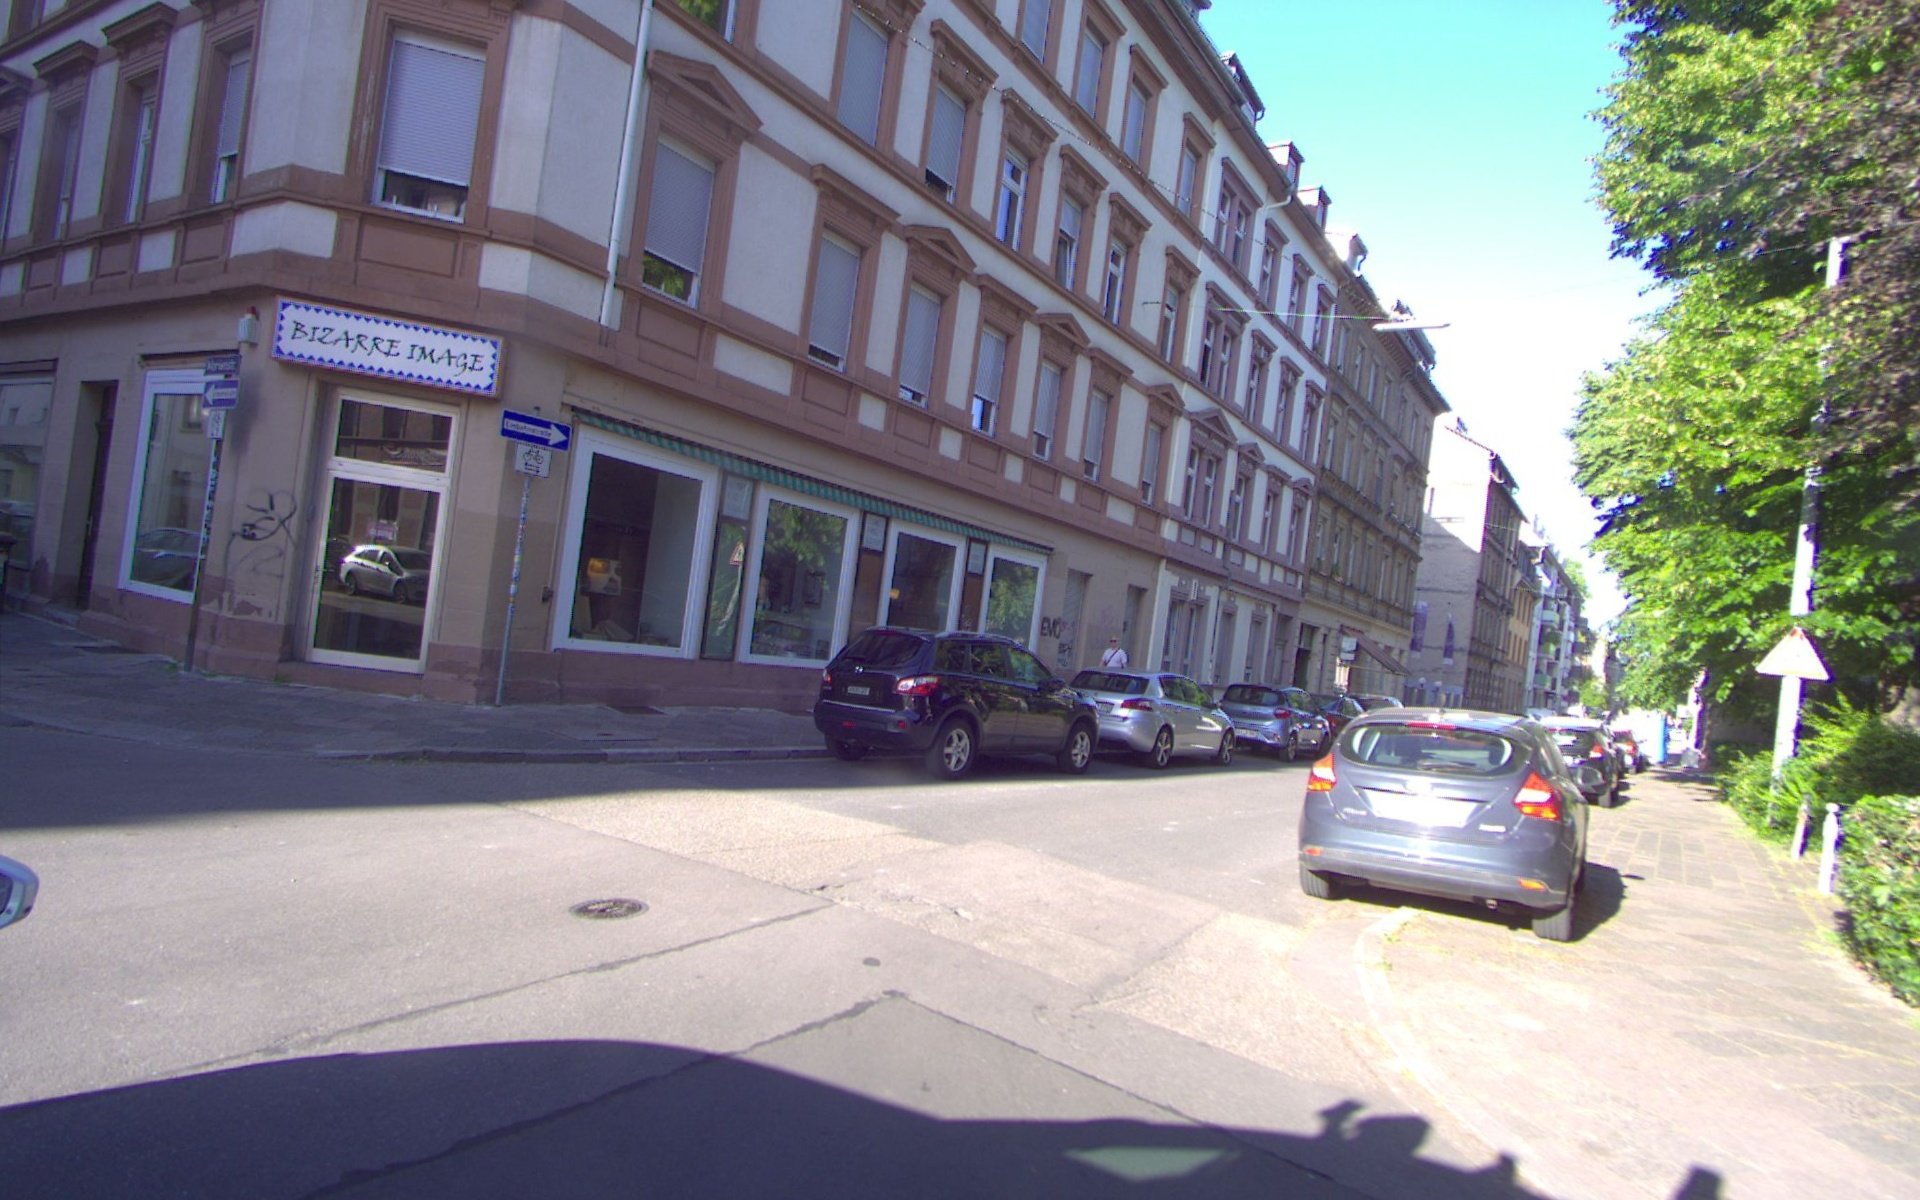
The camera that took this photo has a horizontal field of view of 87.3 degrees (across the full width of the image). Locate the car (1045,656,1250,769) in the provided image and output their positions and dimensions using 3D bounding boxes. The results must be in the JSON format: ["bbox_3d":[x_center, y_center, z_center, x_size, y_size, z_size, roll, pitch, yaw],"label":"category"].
[{"bbox_3d":[3.157,1.848,16.348,1.609,1.489,3.857,4,-4,37],"label":"car"}]

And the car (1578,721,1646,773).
[{"bbox_3d":[22.326,5.013,34.386,1.609,1.489,3.533,4,-4,37],"label":"car"}]

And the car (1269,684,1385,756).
[{"bbox_3d":[9.182,3.012,25.019,1.609,1.489,3.690,4,-4,37],"label":"car"}]

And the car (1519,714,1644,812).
[{"bbox_3d":[11.878,3.056,19.133,1.609,1.489,3.533,4,-4,37],"label":"car"}]

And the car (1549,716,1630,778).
[{"bbox_3d":[18.251,4.246,29.110,1.609,1.489,3.533,4,-4,37],"label":"car"}]

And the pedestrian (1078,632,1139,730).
[{"bbox_3d":[3.178,1.732,21.534,0.787,1.943,0.716,10,0,31],"label":"pedestrian"}]

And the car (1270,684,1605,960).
[{"bbox_3d":[4.032,1.577,8.091,1.770,1.455,3.925,4,-4,34],"label":"car"}]

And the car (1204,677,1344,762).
[{"bbox_3d":[6.694,2.531,21.251,1.609,1.489,3.533,4,-4,37],"label":"car"}]

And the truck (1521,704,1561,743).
[{"bbox_3d":[36.979,7.889,63.974,1.609,2.240,4.355,4,-4,37],"label":"truck"}]

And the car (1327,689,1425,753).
[{"bbox_3d":[12.096,3.527,29.128,1.609,1.570,3.883,4,-4,37],"label":"car"}]

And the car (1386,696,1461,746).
[{"bbox_3d":[16.975,4.454,36.772,1.609,1.570,3.883,4,-4,37],"label":"car"}]

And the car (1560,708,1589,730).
[{"bbox_3d":[50.877,9.831,83.274,1.609,1.570,3.884,4,-4,37],"label":"car"}]

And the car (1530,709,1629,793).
[{"bbox_3d":[14.918,3.603,24.155,1.609,1.667,3.533,4,-4,37],"label":"car"}]

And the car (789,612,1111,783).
[{"bbox_3d":[0.046,1.189,12.159,1.736,1.626,3.920,4,-4,37],"label":"car"}]

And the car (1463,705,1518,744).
[{"bbox_3d":[24.959,5.873,47.277,1.609,1.570,3.884,4,-4,37],"label":"car"}]

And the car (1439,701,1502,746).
[{"bbox_3d":[20.958,5.074,41.249,1.609,1.570,3.884,4,-4,37],"label":"car"}]

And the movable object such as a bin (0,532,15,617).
[{"bbox_3d":[-12.434,-0.355,12.710,0.609,1.053,0.514,7,1,32],"label":"movable object such as a bin"}]

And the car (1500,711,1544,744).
[{"bbox_3d":[31.079,7.055,55.590,1.609,1.570,3.884,4,-4,37],"label":"car"}]
